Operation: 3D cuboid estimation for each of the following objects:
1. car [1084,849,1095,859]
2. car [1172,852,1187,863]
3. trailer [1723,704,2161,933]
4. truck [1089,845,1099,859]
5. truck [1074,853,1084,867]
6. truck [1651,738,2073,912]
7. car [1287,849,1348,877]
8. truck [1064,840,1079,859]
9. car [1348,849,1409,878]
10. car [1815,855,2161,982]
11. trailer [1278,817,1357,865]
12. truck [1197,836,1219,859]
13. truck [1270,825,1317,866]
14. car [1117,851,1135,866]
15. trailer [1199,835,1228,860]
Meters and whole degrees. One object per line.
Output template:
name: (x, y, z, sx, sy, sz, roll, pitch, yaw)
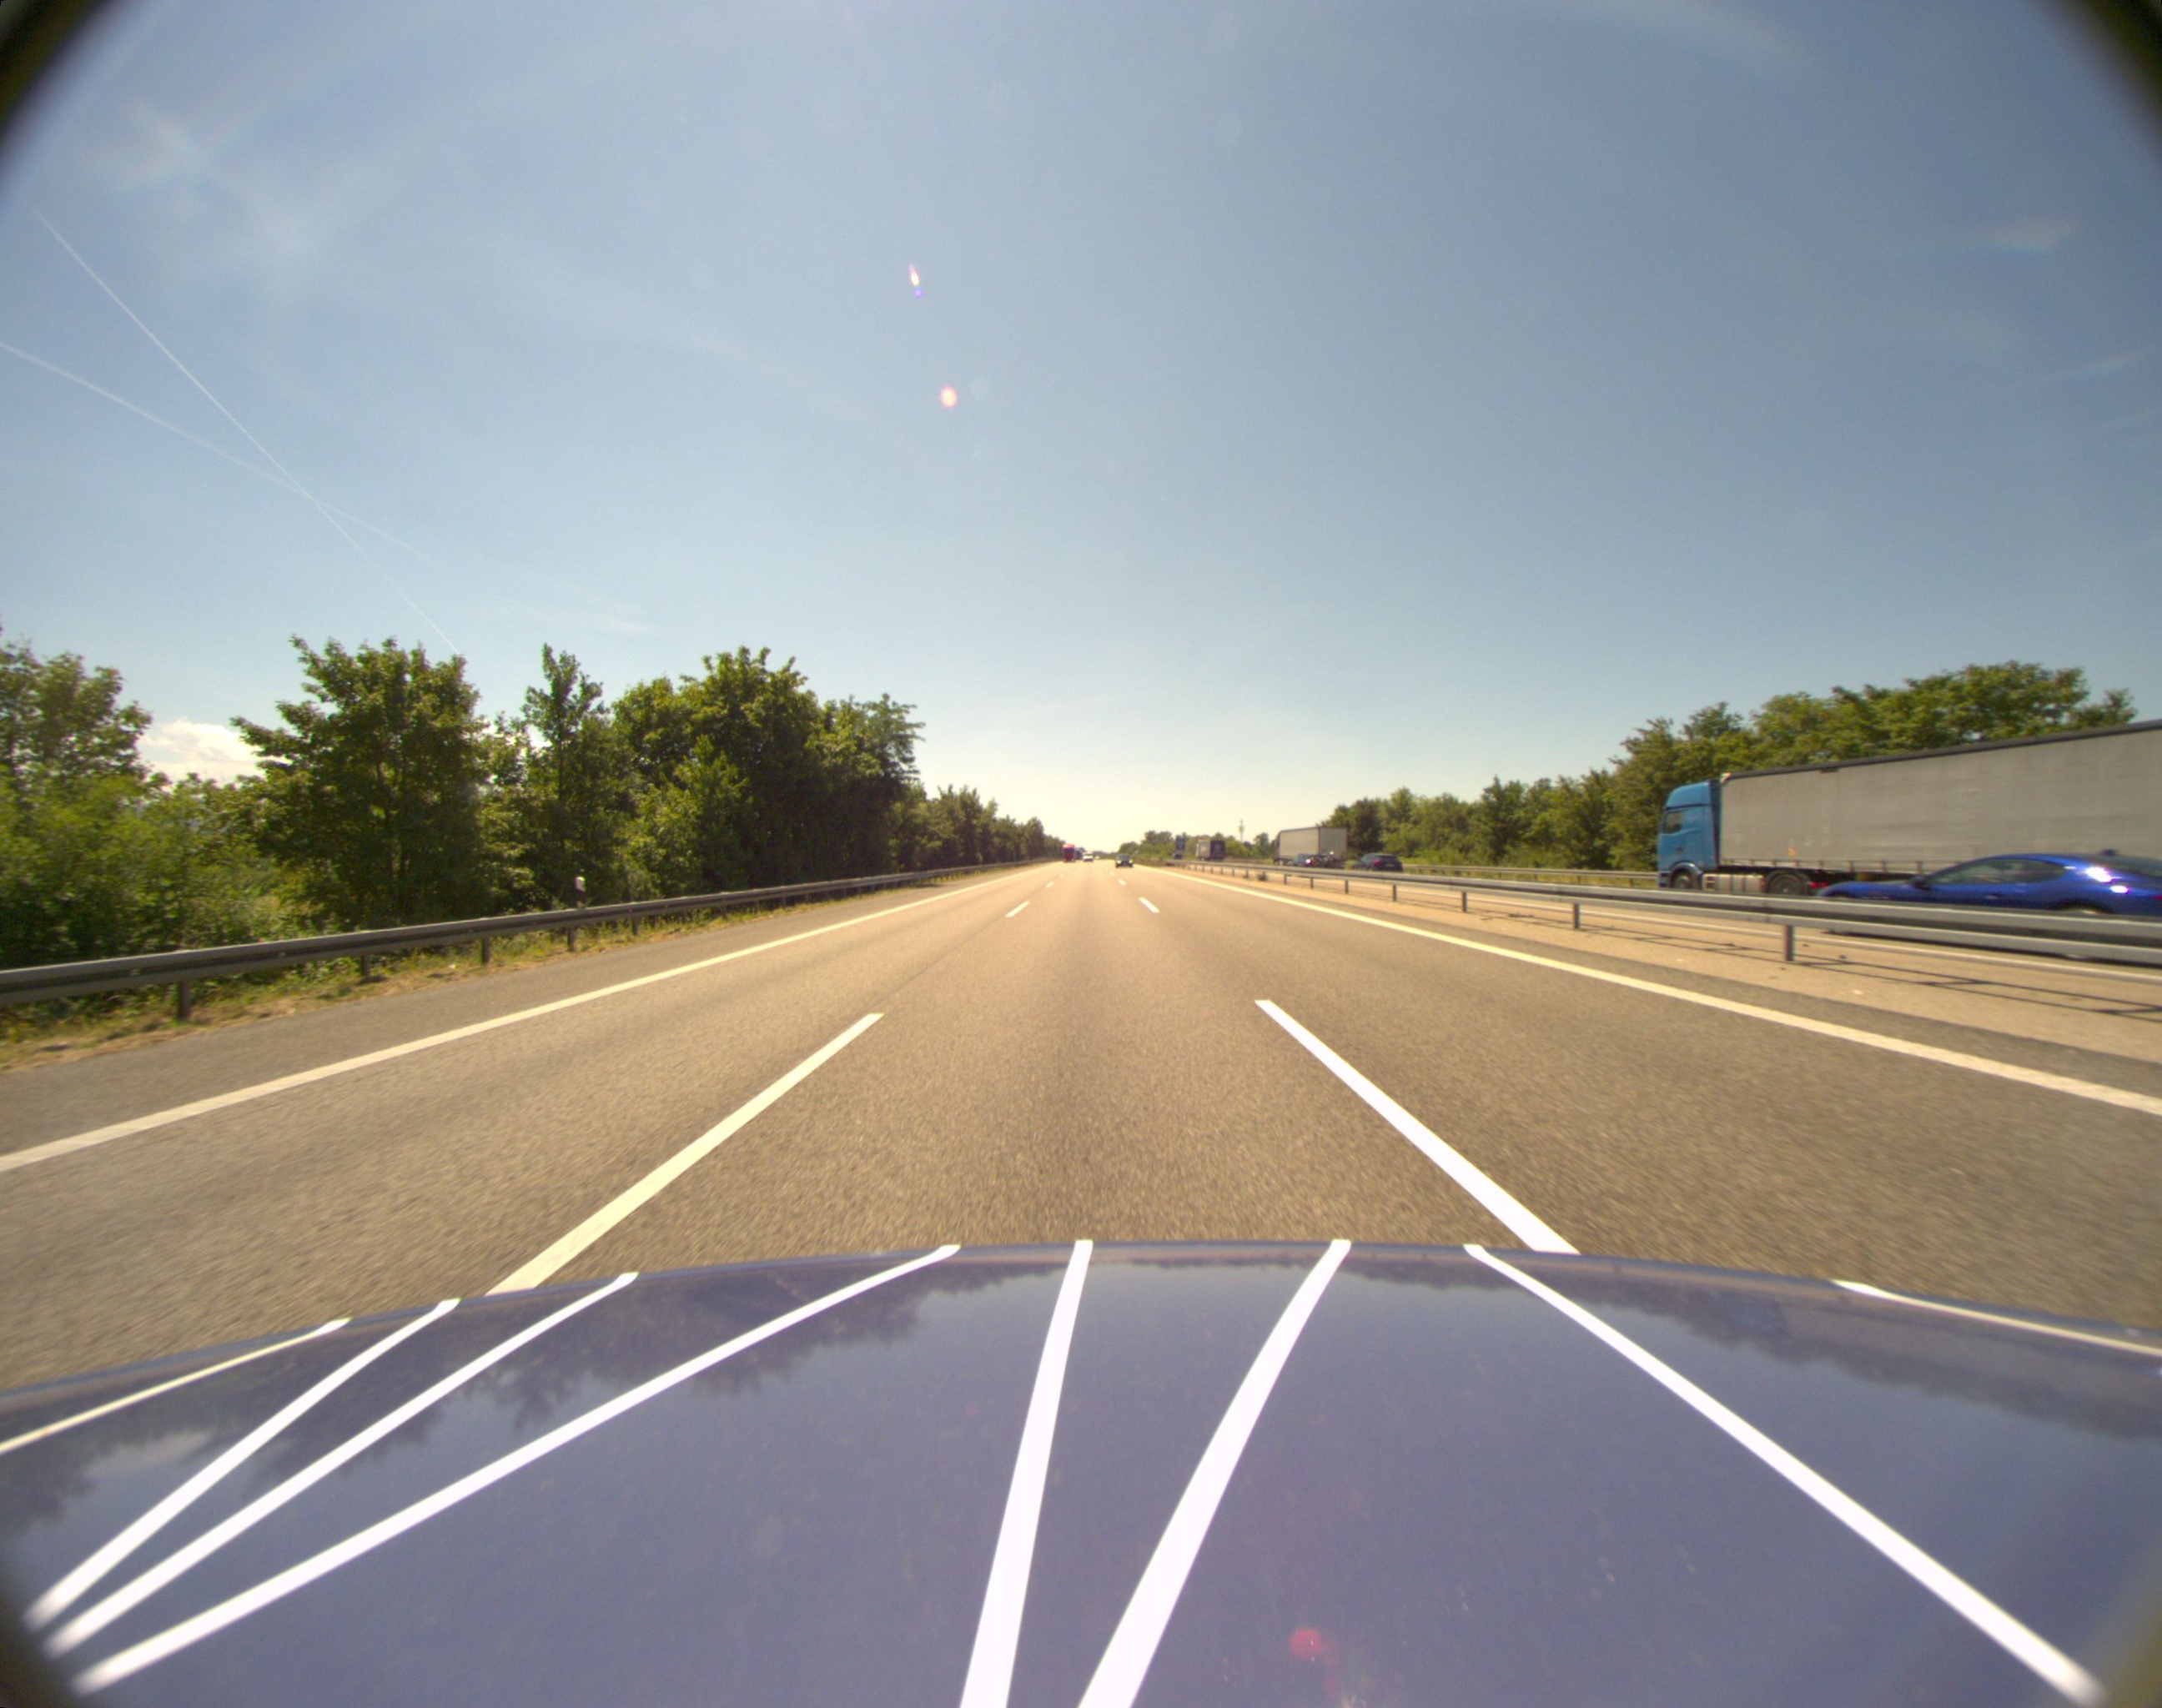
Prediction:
car: (1.716, -0.026, 153.068, 1.998, 2.002, 4.756, -2, 0, 1)
car: (19.296, 0.608, 149.036, 2.234, 1.977, 5.356, -4, 1, 1)
trailer: (21.306, -0.631, 16.531, 3.305, 4.162, 13.541, 0, 0, 0)
truck: (4.143, -0.583, 234.896, 2.938, 3.933, 10.261, -2, 0, 1)
truck: (-0.635, 2.047, 265.390, 2.938, 4.428, 10.261, -2, 0, 1)
truck: (21.346, -0.652, 21.955, 3.260, 3.963, 8.727, -1, 0, 1)
car: (13.279, 0.455, 43.072, 1.854, 1.455, 5.169, 2, 1, 0)
truck: (-2.042, -0.974, 170.601, 2.938, 3.933, 10.261, -2, 0, 1)
car: (17.515, 0.527, 44.991, 1.854, 1.455, 4.313, -4, 1, 0)
car: (13.004, 0.745, 10.119, 1.854, 1.387, 4.742, 1, 1, 0)
trailer: (22.267, -1.089, 72.630, 3.357, 4.162, 13.541, 0, 0, 0)
truck: (23.370, -1.155, 140.398, 2.923, 4.106, 6.193, 1, 1, 1)
truck: (22.228, -0.814, 79.844, 3.205, 4.105, 6.194, -1, 0, 1)
car: (4.757, 0.495, 81.402, 1.736, 1.433, 4.000, -2, 0, 1)
trailer: (23.275, -1.118, 134.031, 2.927, 4.162, 13.540, 1, 1, 1)
